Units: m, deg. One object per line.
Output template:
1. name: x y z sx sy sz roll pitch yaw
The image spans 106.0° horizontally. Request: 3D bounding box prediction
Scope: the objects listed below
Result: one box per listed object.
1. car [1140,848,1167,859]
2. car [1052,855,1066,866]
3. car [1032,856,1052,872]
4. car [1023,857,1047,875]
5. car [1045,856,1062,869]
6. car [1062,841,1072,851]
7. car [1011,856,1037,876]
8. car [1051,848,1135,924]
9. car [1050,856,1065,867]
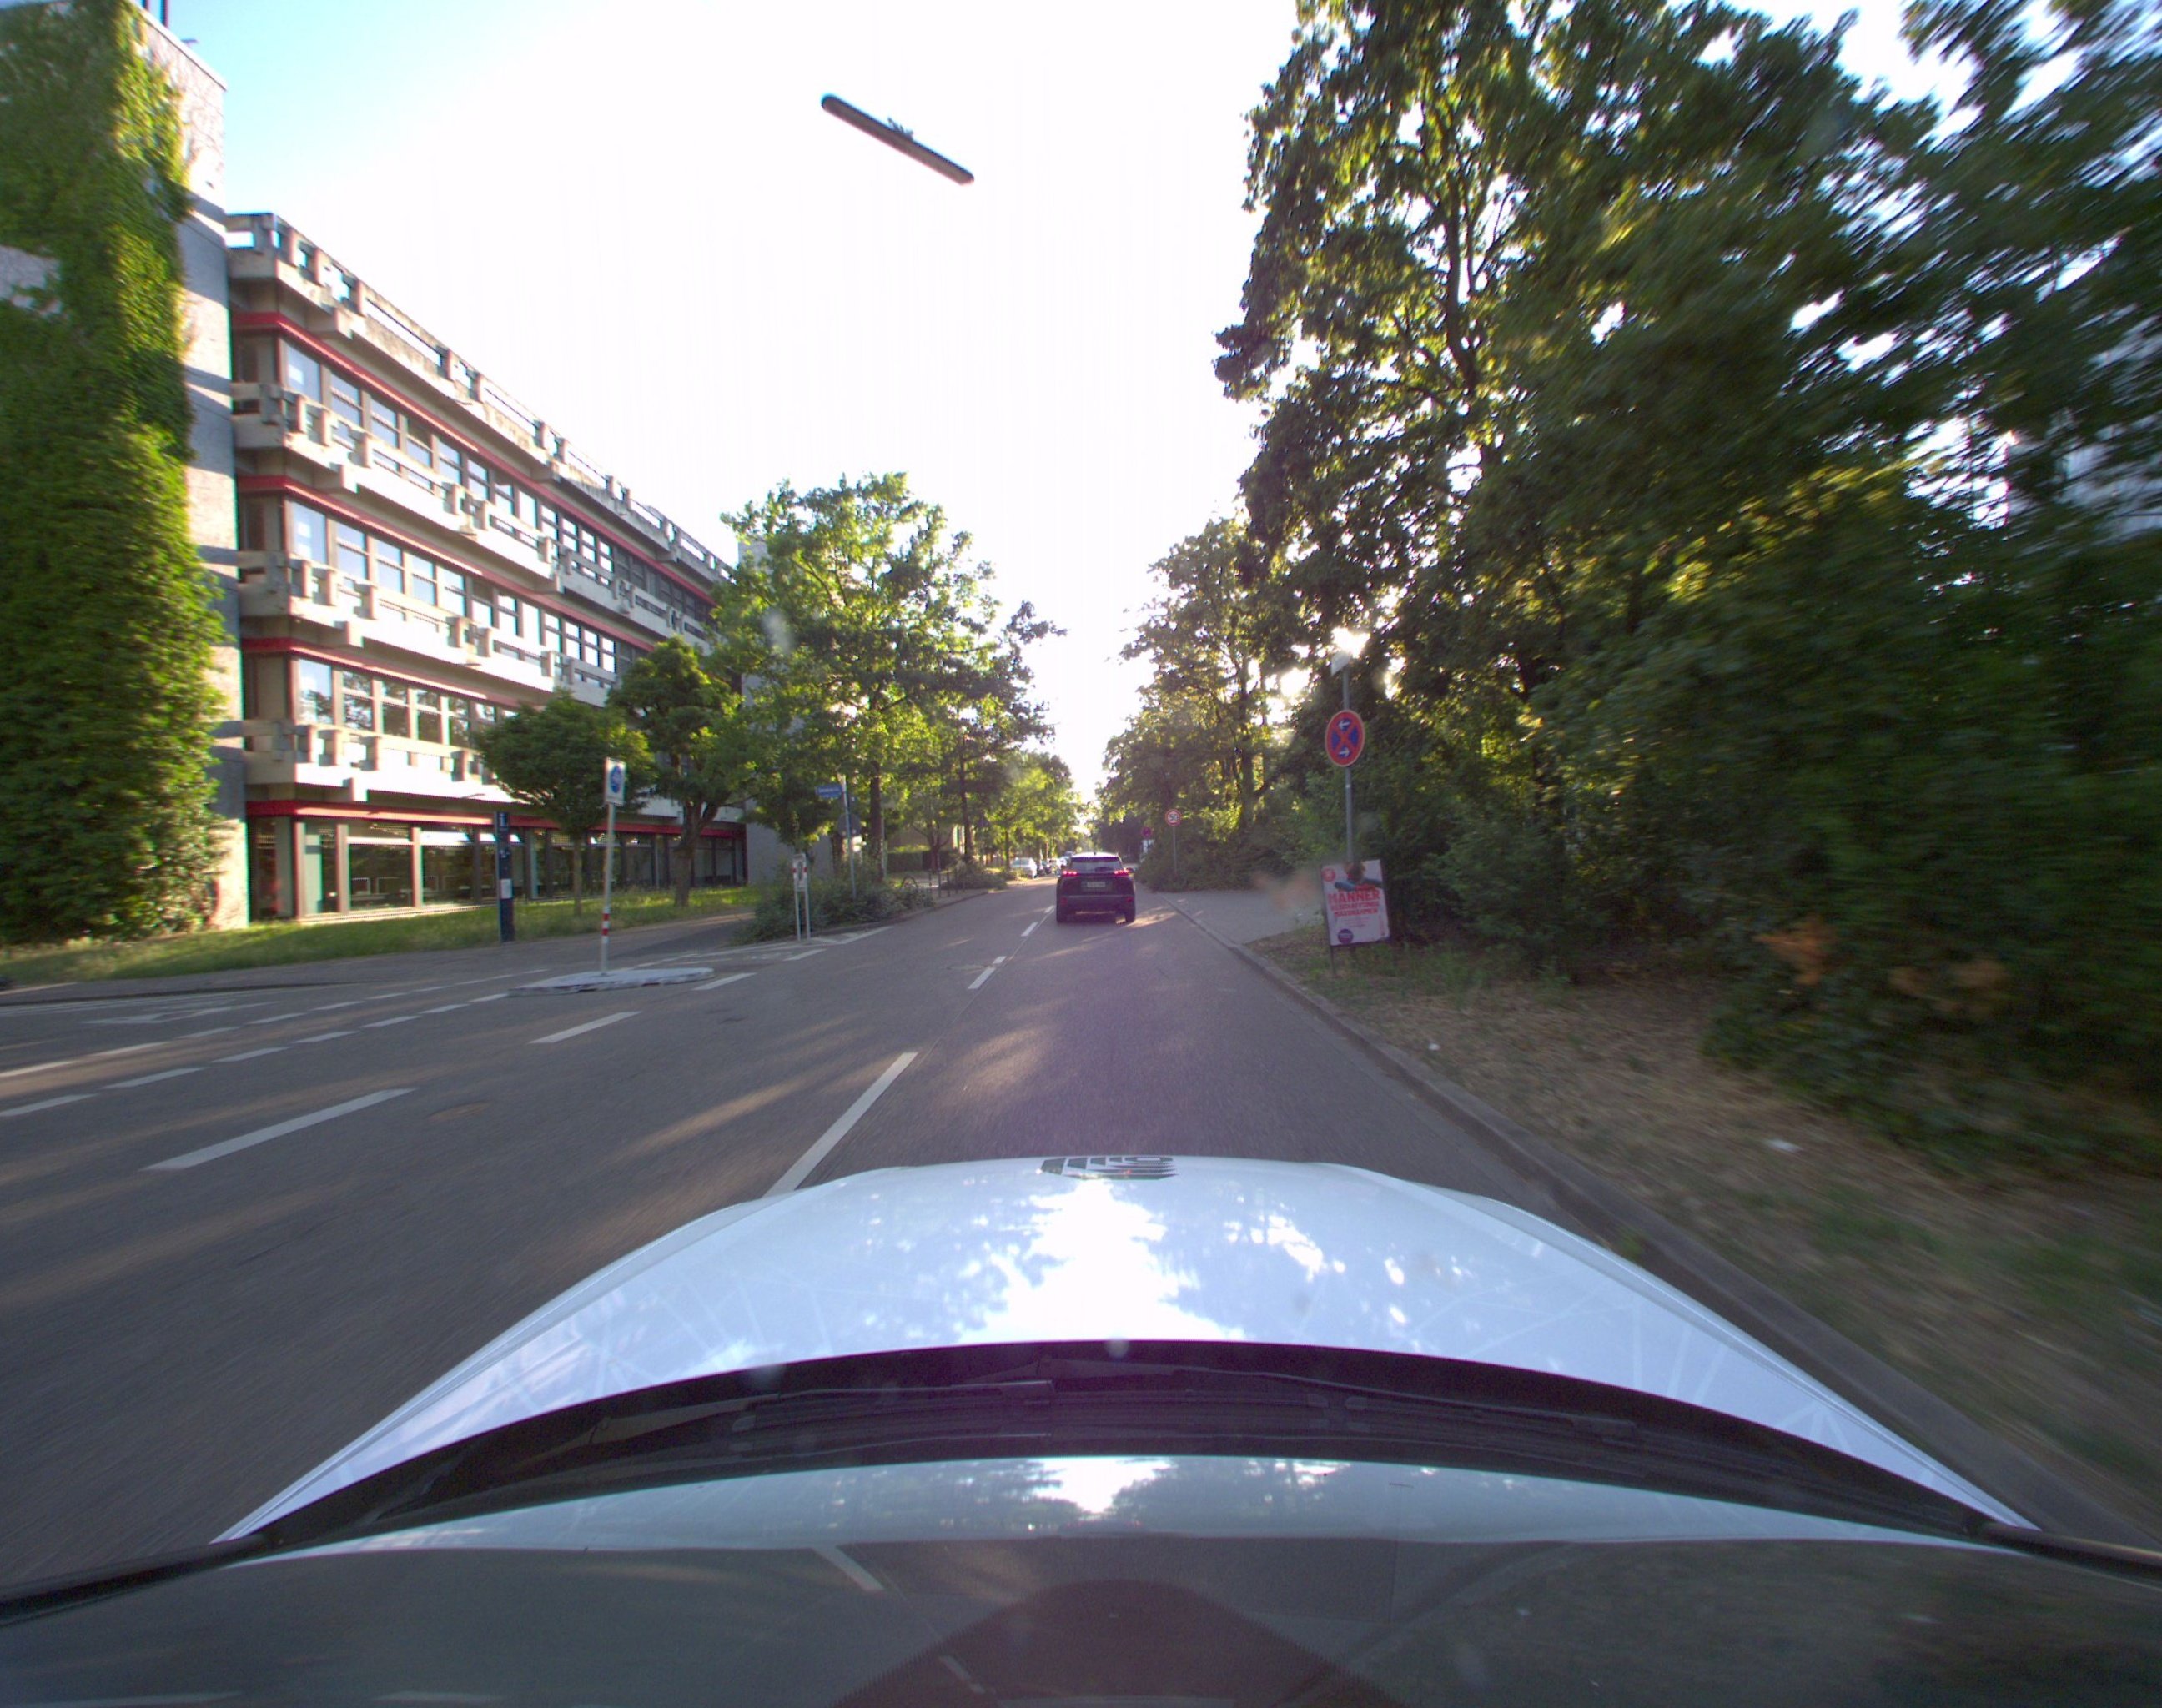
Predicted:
1. car: 11.637 -0.092 130.505 3.977 1.582 1.814 -3 0 -3
2. car: -2.968 0.905 111.264 1.806 1.354 3.997 -3 0 -2
3. car: -3.744 0.926 78.692 1.806 1.354 3.997 -3 0 -2
4. car: -3.784 0.938 67.359 1.806 1.354 3.997 -3 0 -2
5. car: -3.201 0.920 93.653 1.806 1.354 3.997 -3 0 -2
6. car: -2.870 -1.614 166.206 1.900 1.867 3.950 -3 0 1
7. car: -4.259 0.875 61.119 1.806 1.354 3.995 -3 0 -4
8. car: 0.274 0.681 19.111 1.762 1.568 3.380 -2 0 0
9. car: -2.961 0.916 101.202 1.806 1.354 3.975 -3 0 -2
